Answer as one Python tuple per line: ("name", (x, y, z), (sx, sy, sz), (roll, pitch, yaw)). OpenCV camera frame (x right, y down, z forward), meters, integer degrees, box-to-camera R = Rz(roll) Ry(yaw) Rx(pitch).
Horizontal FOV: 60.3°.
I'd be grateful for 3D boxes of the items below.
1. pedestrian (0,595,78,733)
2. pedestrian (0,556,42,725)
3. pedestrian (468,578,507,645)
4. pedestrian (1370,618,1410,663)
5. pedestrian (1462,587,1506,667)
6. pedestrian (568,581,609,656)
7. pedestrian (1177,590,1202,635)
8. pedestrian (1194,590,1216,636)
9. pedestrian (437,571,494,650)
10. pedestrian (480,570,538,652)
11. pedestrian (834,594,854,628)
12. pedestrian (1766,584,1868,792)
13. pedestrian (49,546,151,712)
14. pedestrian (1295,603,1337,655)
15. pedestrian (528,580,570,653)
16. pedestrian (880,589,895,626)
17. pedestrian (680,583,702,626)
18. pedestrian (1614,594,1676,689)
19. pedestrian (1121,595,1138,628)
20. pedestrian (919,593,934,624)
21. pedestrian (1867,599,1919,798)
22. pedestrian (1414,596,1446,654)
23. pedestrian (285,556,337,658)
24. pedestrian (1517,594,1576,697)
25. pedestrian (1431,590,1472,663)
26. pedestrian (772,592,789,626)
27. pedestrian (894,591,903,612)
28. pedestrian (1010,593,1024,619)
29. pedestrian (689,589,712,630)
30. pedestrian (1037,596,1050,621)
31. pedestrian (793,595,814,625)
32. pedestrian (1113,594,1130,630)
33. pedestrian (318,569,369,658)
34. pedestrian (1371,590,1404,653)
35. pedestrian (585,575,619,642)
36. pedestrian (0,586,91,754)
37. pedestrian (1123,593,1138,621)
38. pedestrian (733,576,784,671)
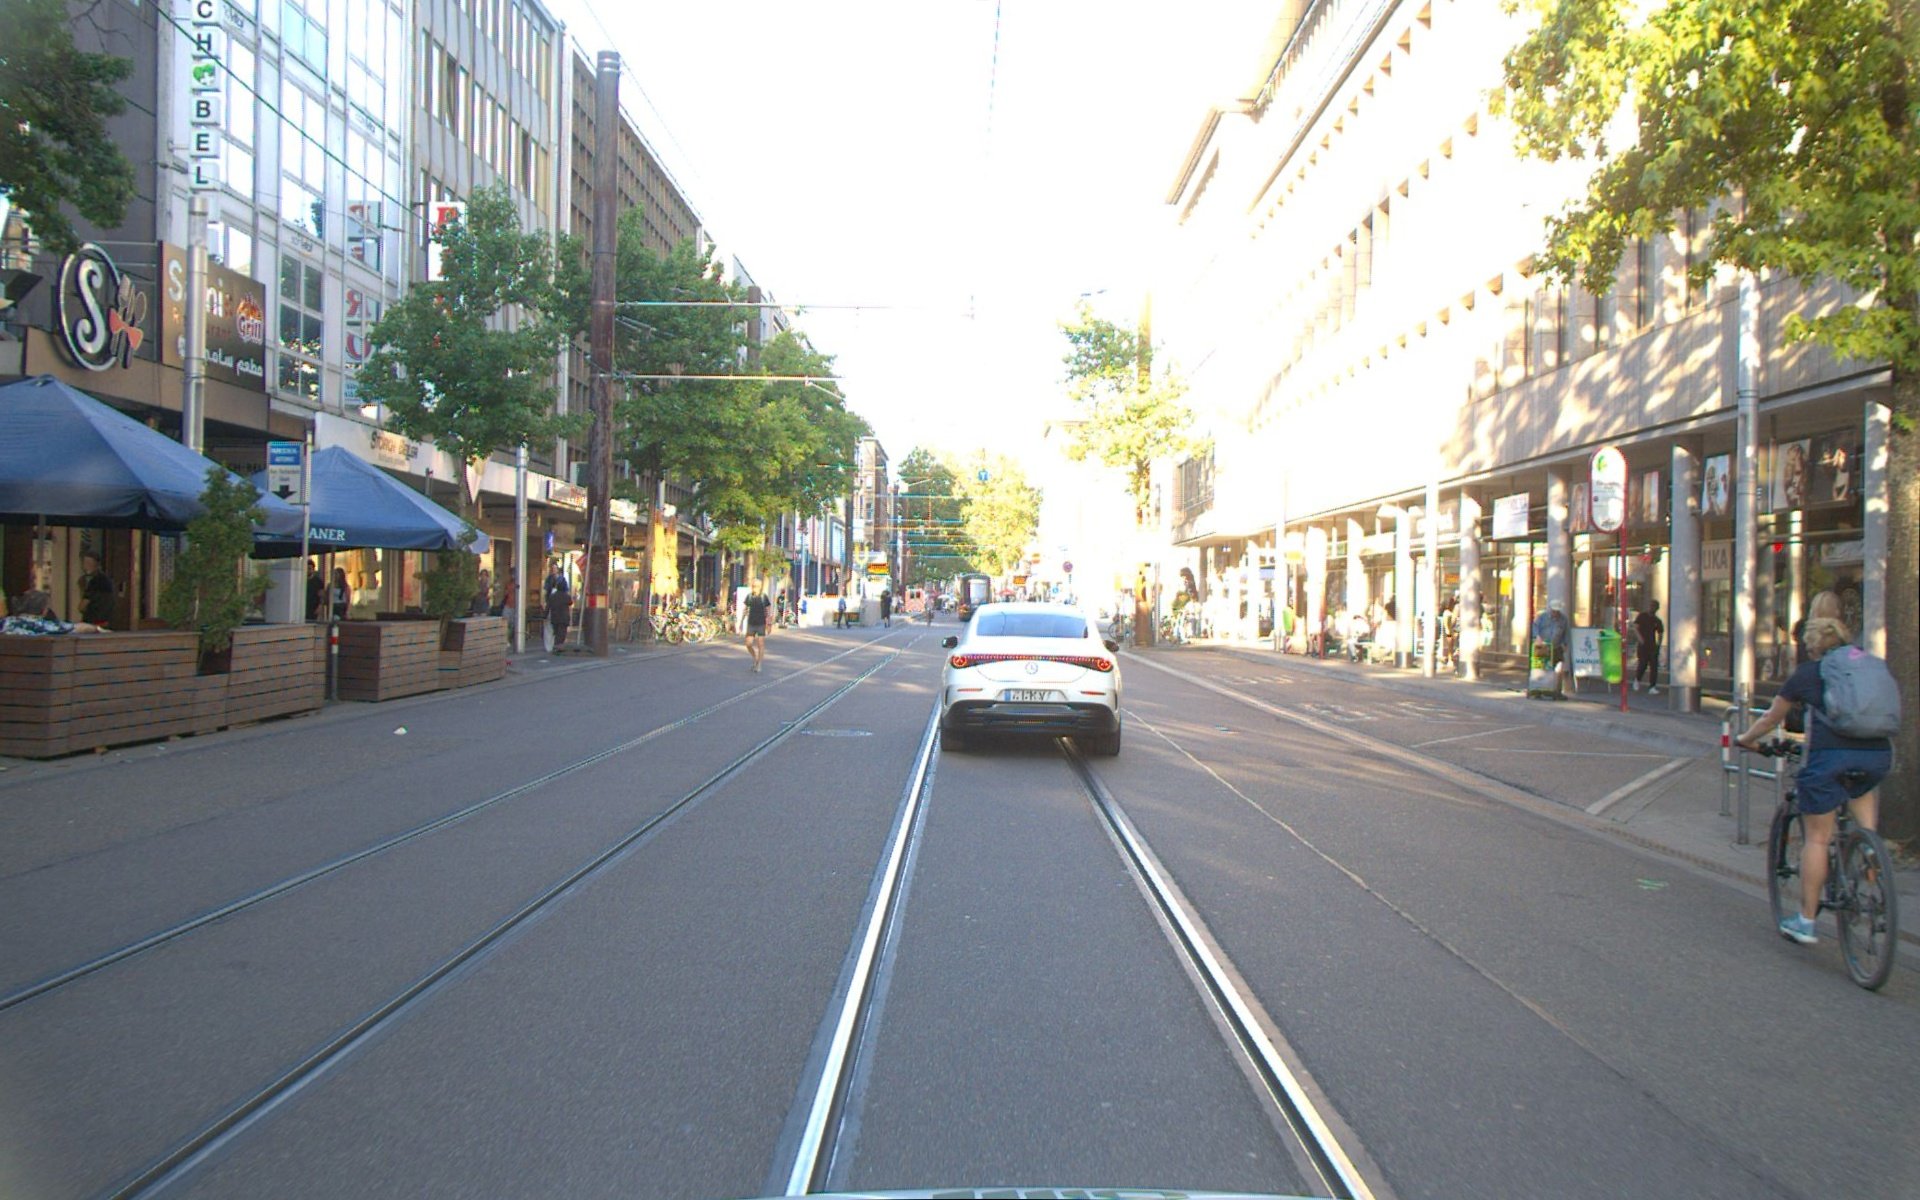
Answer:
("pedestrian", (-8.631, 0.590, 15.426), (0.484, 1.249, 0.535), (2, 0, 0))
("pedestrian", (-9.592, 0.380, 16.280), (0.659, 1.635, 0.720), (2, 0, 0))
("pedestrian", (-11.212, 0.269, 39.273), (0.609, 1.552, 0.809), (3, 0, 1))
("pedestrian", (10.563, 0.989, 40.657), (0.818, 1.049, 0.696), (1, 0, 5))
("pedestrian", (12.161, 0.625, 38.403), (0.729, 1.824, 0.858), (1, 0, 1))
("pedestrian", (-8.031, 0.393, 35.784), (0.609, 1.577, 0.852), (3, 0, 1))
("pedestrian", (9.459, 0.513, 68.203), (0.881, 1.775, 0.689), (-3, 0, 0))
("pedestrian", (10.082, 0.539, 68.089), (0.687, 1.844, 1.033), (-3, 0, 0))
("pedestrian", (-10.757, 0.233, 35.963), (0.831, 1.666, 0.762), (2, 0, 20))
("pedestrian", (-9.943, 0.242, 36.495), (0.832, 1.771, 0.835), (2, 0, 20))
("pedestrian", (-5.820, 0.548, 82.816), (0.886, 1.728, 0.849), (1, 0, 1))
("pedestrian", (7.351, 0.731, 14.184), (0.667, 1.715, 0.694), (-1, 0, 34))
("pedestrian", (-9.369, 0.314, 18.047), (0.703, 1.755, 0.675), (2, 0, -1))
("pedestrian", (9.811, 0.807, 45.539), (0.821, 1.401, 0.772), (1, 0, -22))
("pedestrian", (-8.946, 0.362, 36.041), (0.609, 1.535, 0.833), (3, 0, 1))
("pedestrian", (-3.871, 0.386, 88.188), (0.531, 1.963, 0.569), (0, 0, 44))
("pedestrian", (-11.177, 0.193, 68.714), (0.775, 1.797, 0.533), (1, 0, -24))
("pedestrian", (11.886, 0.712, 28.722), (0.681, 1.617, 0.926), (1, 0, 1))
("pedestrian", (9.380, 0.613, 91.551), (0.823, 1.817, 0.803), (-1, 0, 0))
("pedestrian", (-1.945, 0.491, 96.324), (0.784, 1.813, 0.849), (2, 0, -1))
("pedestrian", (7.842, 0.784, 13.488), (0.597, 1.579, 0.685), (-2, 0, 44))
("pedestrian", (12.920, 0.674, 45.486), (0.629, 1.568, 0.796), (1, 0, 1))
("pedestrian", (-11.674, 0.122, 29.756), (0.585, 1.775, 0.671), (2, 0, 1))
("pedestrian", (9.339, 0.718, 26.356), (0.667, 1.600, 0.632), (2, 0, 1))
("pedestrian", (12.005, 0.642, 40.441), (0.729, 1.730, 0.858), (1, 0, 1))
("pedestrian", (-9.411, 0.483, 86.675), (0.821, 1.747, 0.785), (1, 0, -1))
("pedestrian", (-4.676, 0.124, 126.290), (0.646, 1.627, 0.573), (1, 0, -1))
("pedestrian", (3.975, 0.423, 115.495), (0.941, 1.817, 0.803), (-1, 0, 0))
("pedestrian", (-11.659, 0.428, 74.324), (0.717, 1.792, 0.809), (1, 0, -34))
("pedestrian", (6.156, 0.635, 122.116), (0.941, 1.817, 0.803), (-1, 0, 0))
("pedestrian", (-7.918, 0.508, 83.740), (0.936, 1.522, 0.944), (1, 0, 1))
("pedestrian", (8.186, 0.592, 83.863), (0.733, 1.817, 0.766), (-1, 0, 0))
("pedestrian", (-11.090, 0.236, 29.758), (0.585, 1.559, 0.671), (2, 0, 1))
("pedestrian", (12.177, 0.608, 47.104), (0.701, 1.771, 0.835), (1, 0, 1))
("pedestrian", (-9.793, 0.219, 45.252), (0.609, 1.778, 0.933), (3, 0, 1))
("pedestrian", (-7.830, 0.583, 14.059), (0.538, 1.380, 0.582), (2, 0, 0))
("pedestrian", (10.583, 0.457, 102.842), (0.801, 1.715, 0.803), (-1, 0, 0))
("pedestrian", (-4.006, 0.463, 32.953), (0.824, 1.832, 0.790), (2, 0, 1))
